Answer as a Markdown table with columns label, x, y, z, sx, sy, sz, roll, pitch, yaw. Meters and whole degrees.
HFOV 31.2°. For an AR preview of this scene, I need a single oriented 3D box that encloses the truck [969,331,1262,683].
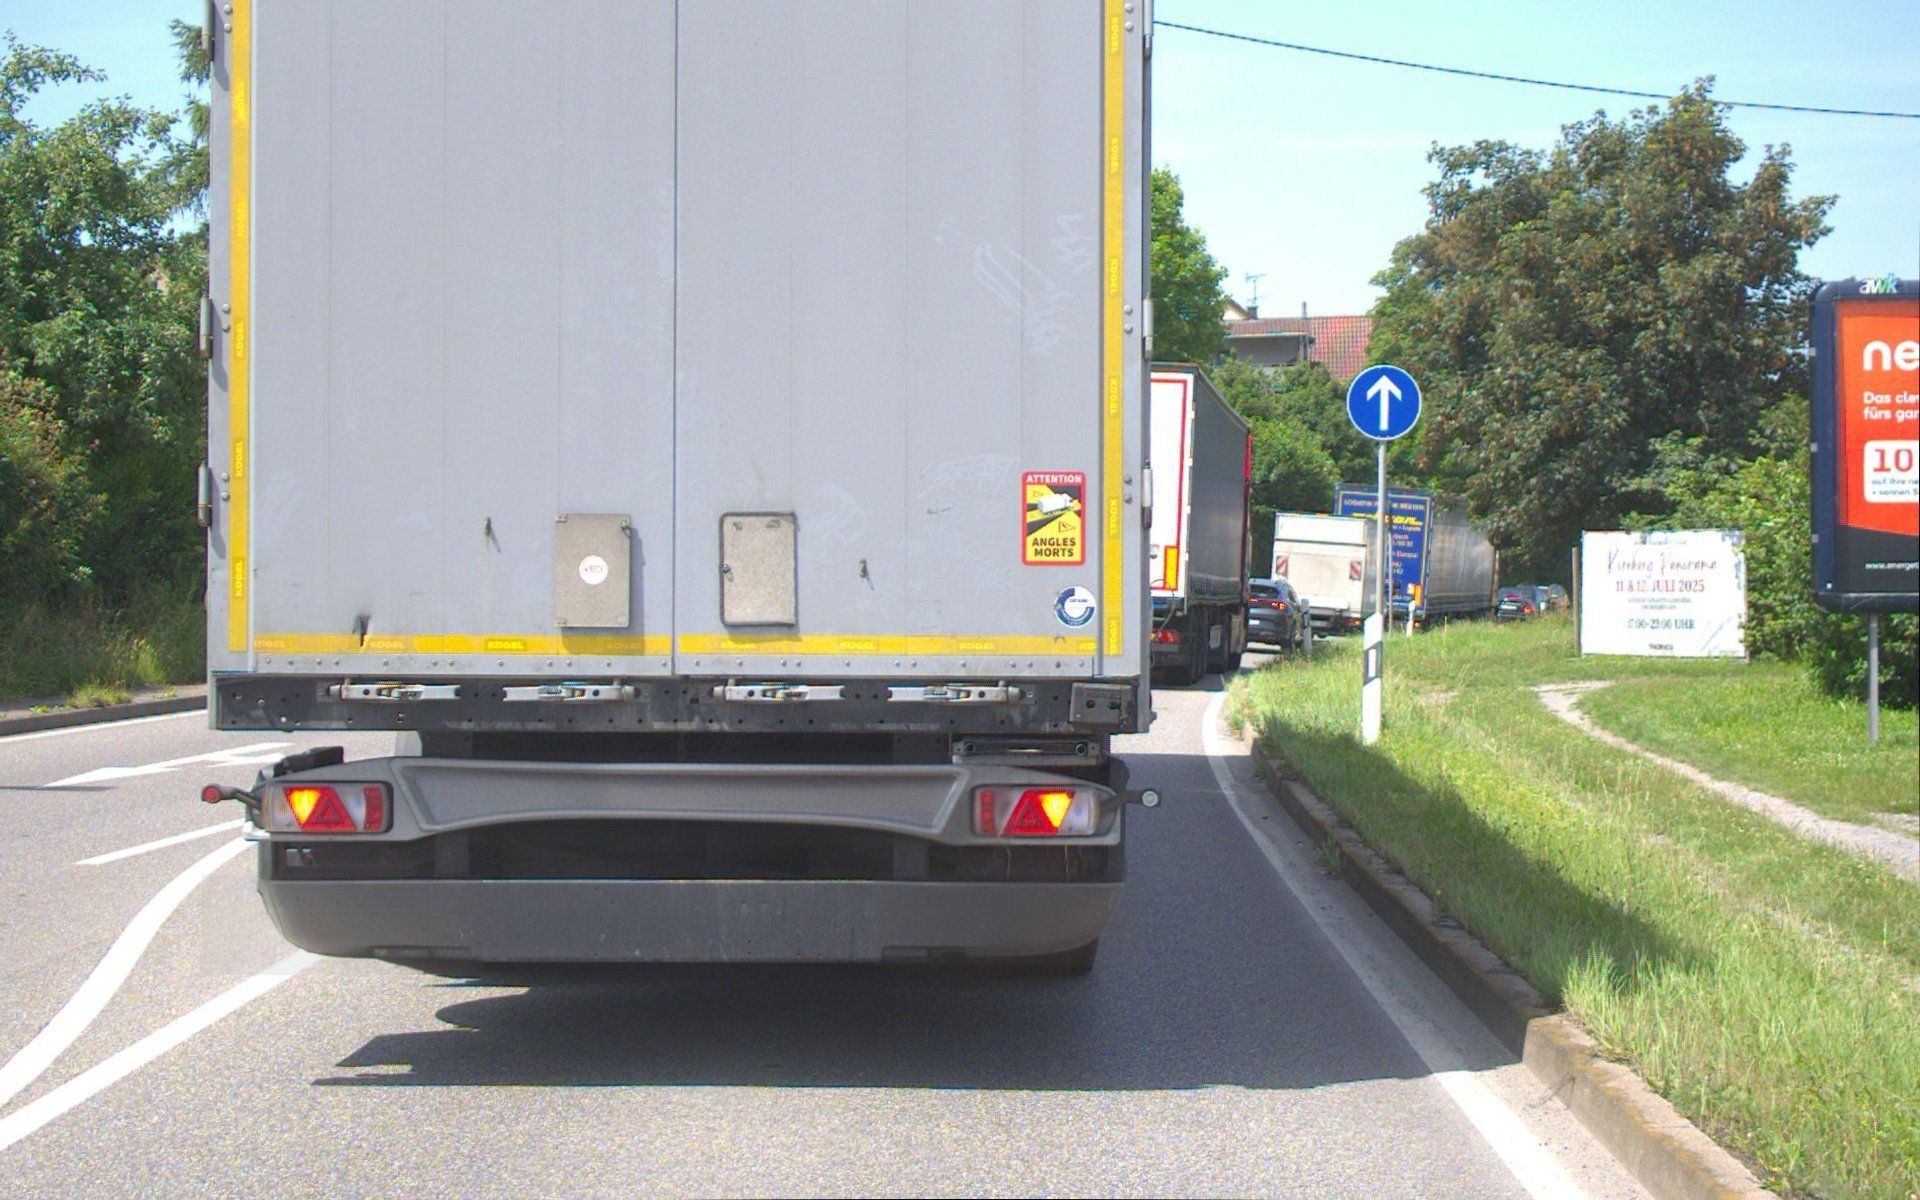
| label | x | y | z | sx | sy | sz | roll | pitch | yaw |
| --- | --- | --- | --- | --- | --- | --- | --- | --- | --- |
| truck | 2.614 | -1.156 | 50.211 | 2.761 | 4.274 | 16.410 | 1 | 0 | 8 |

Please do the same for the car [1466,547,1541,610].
| label | x | y | z | sx | sy | sz | roll | pitch | yaw |
| --- | --- | --- | --- | --- | --- | --- | --- | --- | --- |
| car | 17.806 | -0.682 | 112.503 | 1.995 | 2.007 | 3.997 | 1 | 0 | 15 |

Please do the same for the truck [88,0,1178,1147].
| label | x | y | z | sx | sy | sz | roll | pitch | yaw |
| --- | --- | --- | --- | --- | --- | --- | --- | --- | --- |
| truck | -0.679 | -0.767 | 14.686 | 2.822 | 4.113 | 11.443 | 1 | 1 | 2 |

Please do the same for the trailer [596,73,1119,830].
| label | x | y | z | sx | sy | sz | roll | pitch | yaw |
| --- | --- | --- | --- | --- | --- | --- | --- | --- | --- |
| trailer | -0.447 | -0.876 | 21.957 | 2.825 | 4.097 | 6.544 | 0 | 1 | 2 |

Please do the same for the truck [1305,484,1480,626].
| label | x | y | z | sx | sy | sz | roll | pitch | yaw |
| --- | --- | --- | --- | --- | --- | --- | --- | --- | --- |
| truck | 11.761 | -1.268 | 92.729 | 3.435 | 3.592 | 9.347 | 1 | 1 | 15 |

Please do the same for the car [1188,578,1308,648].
| label | x | y | z | sx | sy | sz | roll | pitch | yaw |
| --- | --- | --- | --- | --- | --- | --- | --- | --- | --- |
| car | 5.990 | 0.254 | 71.151 | 1.994 | 1.371 | 3.998 | 1 | 0 | 11 |

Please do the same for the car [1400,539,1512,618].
| label | x | y | z | sx | sy | sz | roll | pitch | yaw |
| --- | --- | --- | --- | --- | --- | --- | --- | --- | --- |
| car | 14.919 | -0.679 | 103.176 | 2.533 | 2.269 | 6.377 | 1 | 1 | 15 |

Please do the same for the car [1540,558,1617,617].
| label | x | y | z | sx | sy | sz | roll | pitch | yaw |
| --- | --- | --- | --- | --- | --- | --- | --- | --- | --- |
| car | 21.756 | -0.418 | 120.818 | 1.995 | 2.007 | 3.996 | 1 | 0 | 20 |

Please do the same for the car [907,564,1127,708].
| label | x | y | z | sx | sy | sz | roll | pitch | yaw |
| --- | --- | --- | --- | --- | --- | --- | --- | --- | --- |
| car | 0.635 | 0.342 | 34.793 | 1.819 | 1.342 | 3.846 | 1 | 0 | 7 |

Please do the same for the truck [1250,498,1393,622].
| label | x | y | z | sx | sy | sz | roll | pitch | yaw |
| --- | --- | --- | --- | --- | --- | --- | --- | --- | --- |
| truck | 8.610 | -0.928 | 81.346 | 2.545 | 2.793 | 6.028 | 1 | 0 | 14 |
